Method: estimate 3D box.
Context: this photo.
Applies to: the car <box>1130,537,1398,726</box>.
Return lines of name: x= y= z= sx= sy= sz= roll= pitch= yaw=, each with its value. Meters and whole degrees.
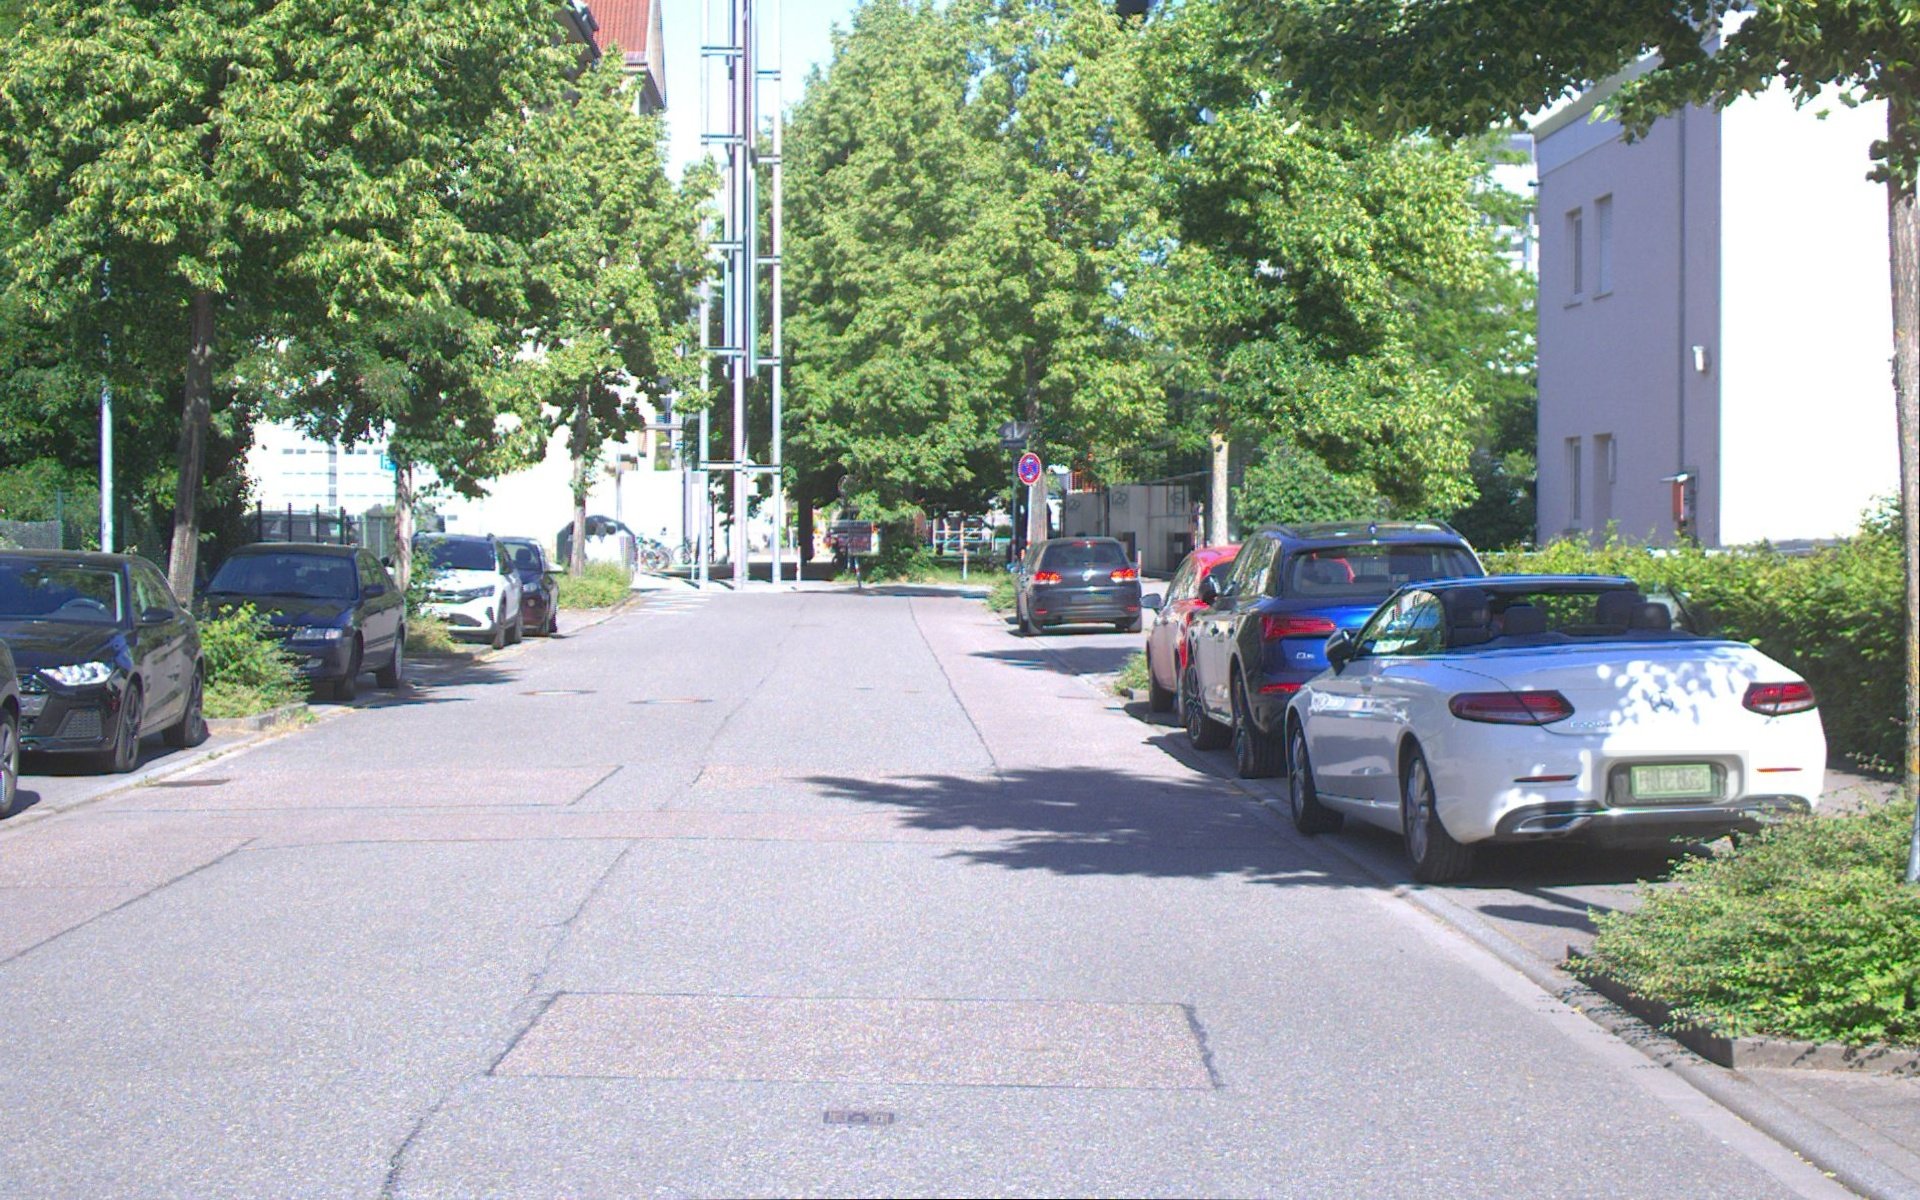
car: x=2.547 y=0.235 z=29.657 sx=1.834 sy=1.511 sz=3.881 roll=0 pitch=1 yaw=-2

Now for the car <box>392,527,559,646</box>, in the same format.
car: x=-6.476 y=-0.205 z=46.332 sx=1.777 sy=1.525 sz=4.000 roll=0 pitch=1 yaw=-1

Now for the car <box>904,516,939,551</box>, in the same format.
car: x=-2.296 y=-3.931 z=203.439 sx=1.993 sy=2.006 sz=4.001 roll=0 pitch=2 yaw=-1

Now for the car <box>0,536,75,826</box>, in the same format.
car: x=-5.950 y=0.398 z=17.329 sx=1.762 sy=1.522 sz=4.000 roll=3 pitch=1 yaw=2

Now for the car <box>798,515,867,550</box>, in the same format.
car: x=-7.459 y=-3.950 z=201.996 sx=3.987 sy=2.006 sz=2.000 roll=0 pitch=2 yaw=0

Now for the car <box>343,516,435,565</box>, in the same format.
car: x=-11.976 y=-1.251 z=72.156 sx=1.763 sy=1.004 sz=0.878 roll=0 pitch=2 yaw=2

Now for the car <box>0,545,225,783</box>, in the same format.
car: x=-6.180 y=0.381 z=23.492 sx=1.630 sy=1.496 sz=3.578 roll=0 pitch=1 yaw=-1

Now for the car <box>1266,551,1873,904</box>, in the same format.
car: x=2.780 y=0.527 z=16.699 sx=1.829 sy=1.418 sz=4.234 roll=-2 pitch=0 yaw=-5

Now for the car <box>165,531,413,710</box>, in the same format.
car: x=-6.347 y=0.154 z=32.886 sx=1.694 sy=1.599 sz=3.942 roll=0 pitch=1 yaw=-1

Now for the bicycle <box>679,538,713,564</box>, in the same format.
bicycle: x=-6.988 y=-1.297 z=90.974 sx=0.373 sy=0.681 sz=1.080 roll=-1 pitch=2 yaw=-38

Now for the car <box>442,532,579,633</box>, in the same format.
car: x=-6.736 y=-0.283 z=51.768 sx=1.700 sy=1.465 sz=3.461 roll=0 pitch=1 yaw=-1

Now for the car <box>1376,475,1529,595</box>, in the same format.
car: x=8.511 y=-1.124 z=59.714 sx=1.993 sy=2.007 sz=4.000 roll=0 pitch=1 yaw=-1

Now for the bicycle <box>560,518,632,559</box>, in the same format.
bicycle: x=-7.508 y=-1.271 z=71.009 sx=1.467 sy=0.839 sz=0.336 roll=0 pitch=2 yaw=-5

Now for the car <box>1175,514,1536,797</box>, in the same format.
car: x=2.618 y=0.317 z=23.685 sx=1.821 sy=1.713 sz=4.120 roll=-2 pitch=1 yaw=-2

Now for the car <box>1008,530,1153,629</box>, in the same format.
car: x=1.819 y=-0.336 z=53.158 sx=1.993 sy=1.481 sz=4.000 roll=0 pitch=1 yaw=-1

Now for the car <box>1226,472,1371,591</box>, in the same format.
car: x=5.829 y=-1.180 z=59.647 sx=2.024 sy=2.007 sz=4.000 roll=0 pitch=1 yaw=-1
